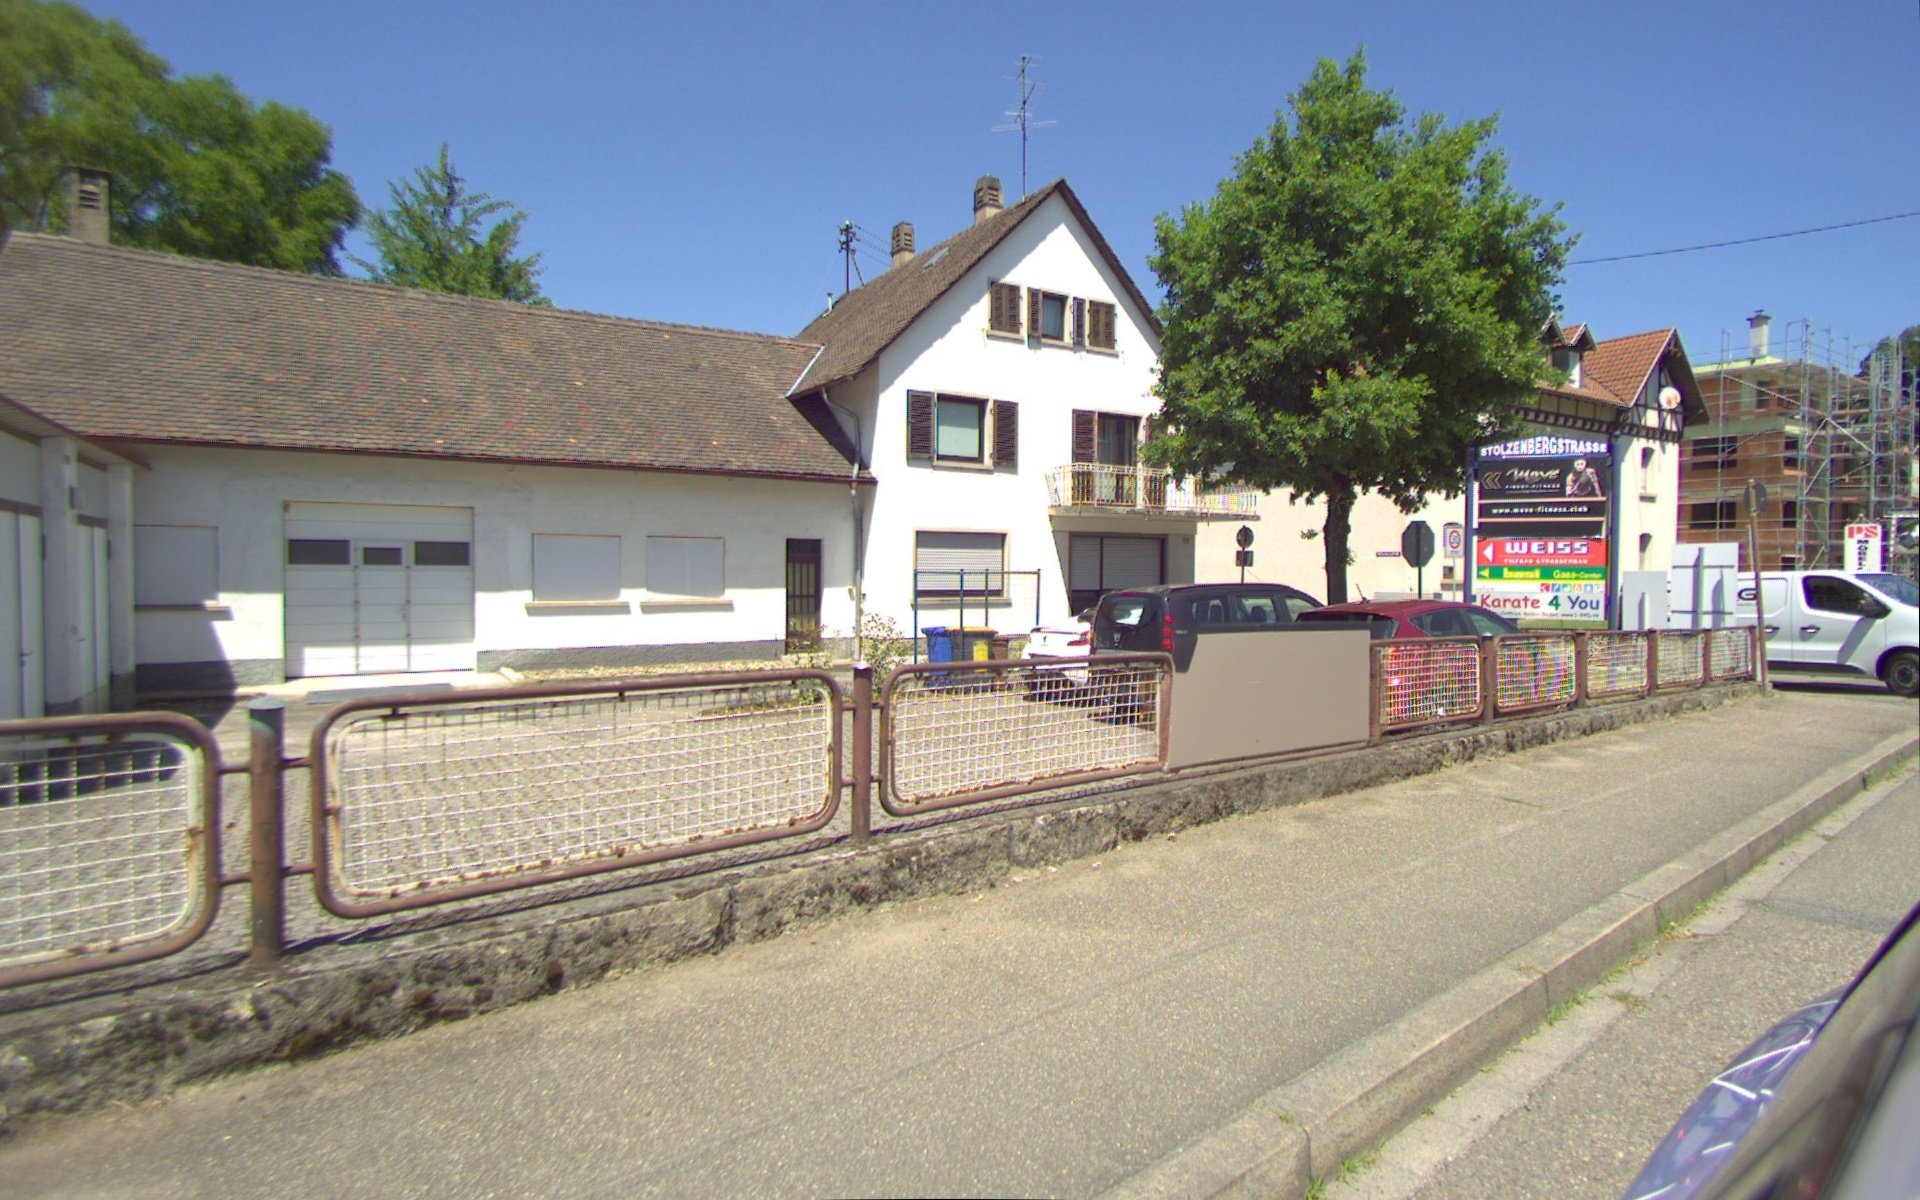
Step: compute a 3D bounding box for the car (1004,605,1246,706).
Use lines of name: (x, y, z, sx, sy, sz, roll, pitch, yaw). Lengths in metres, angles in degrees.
car: (2.502, 0.747, 15.162, 3.319, 1.286, 1.718, -1, 1, -34)

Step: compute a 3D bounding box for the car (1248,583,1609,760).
car: (5.005, 0.605, 10.707, 3.765, 1.542, 1.718, -1, 2, -33)

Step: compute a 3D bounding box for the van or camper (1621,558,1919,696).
van or camper: (14.276, 0.376, 16.729, 1.959, 2.003, 5.371, -2, 0, -24)

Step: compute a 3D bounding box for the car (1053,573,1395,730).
car: (3.425, 0.539, 12.817, 4.373, 1.686, 1.718, -1, 0, -34)

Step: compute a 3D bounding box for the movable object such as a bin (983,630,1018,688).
movable object such as a bin: (0.638, 0.925, 15.902, 0.378, 0.865, 0.398, 0, 1, -33)

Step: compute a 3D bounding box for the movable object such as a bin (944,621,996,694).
movable object such as a bin: (0.154, 0.870, 15.481, 0.627, 1.060, 0.492, 0, 1, -33)

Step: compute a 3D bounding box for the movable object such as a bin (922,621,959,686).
movable object such as a bin: (-0.310, 0.831, 16.012, 0.408, 0.981, 0.453, 0, 1, -32)
